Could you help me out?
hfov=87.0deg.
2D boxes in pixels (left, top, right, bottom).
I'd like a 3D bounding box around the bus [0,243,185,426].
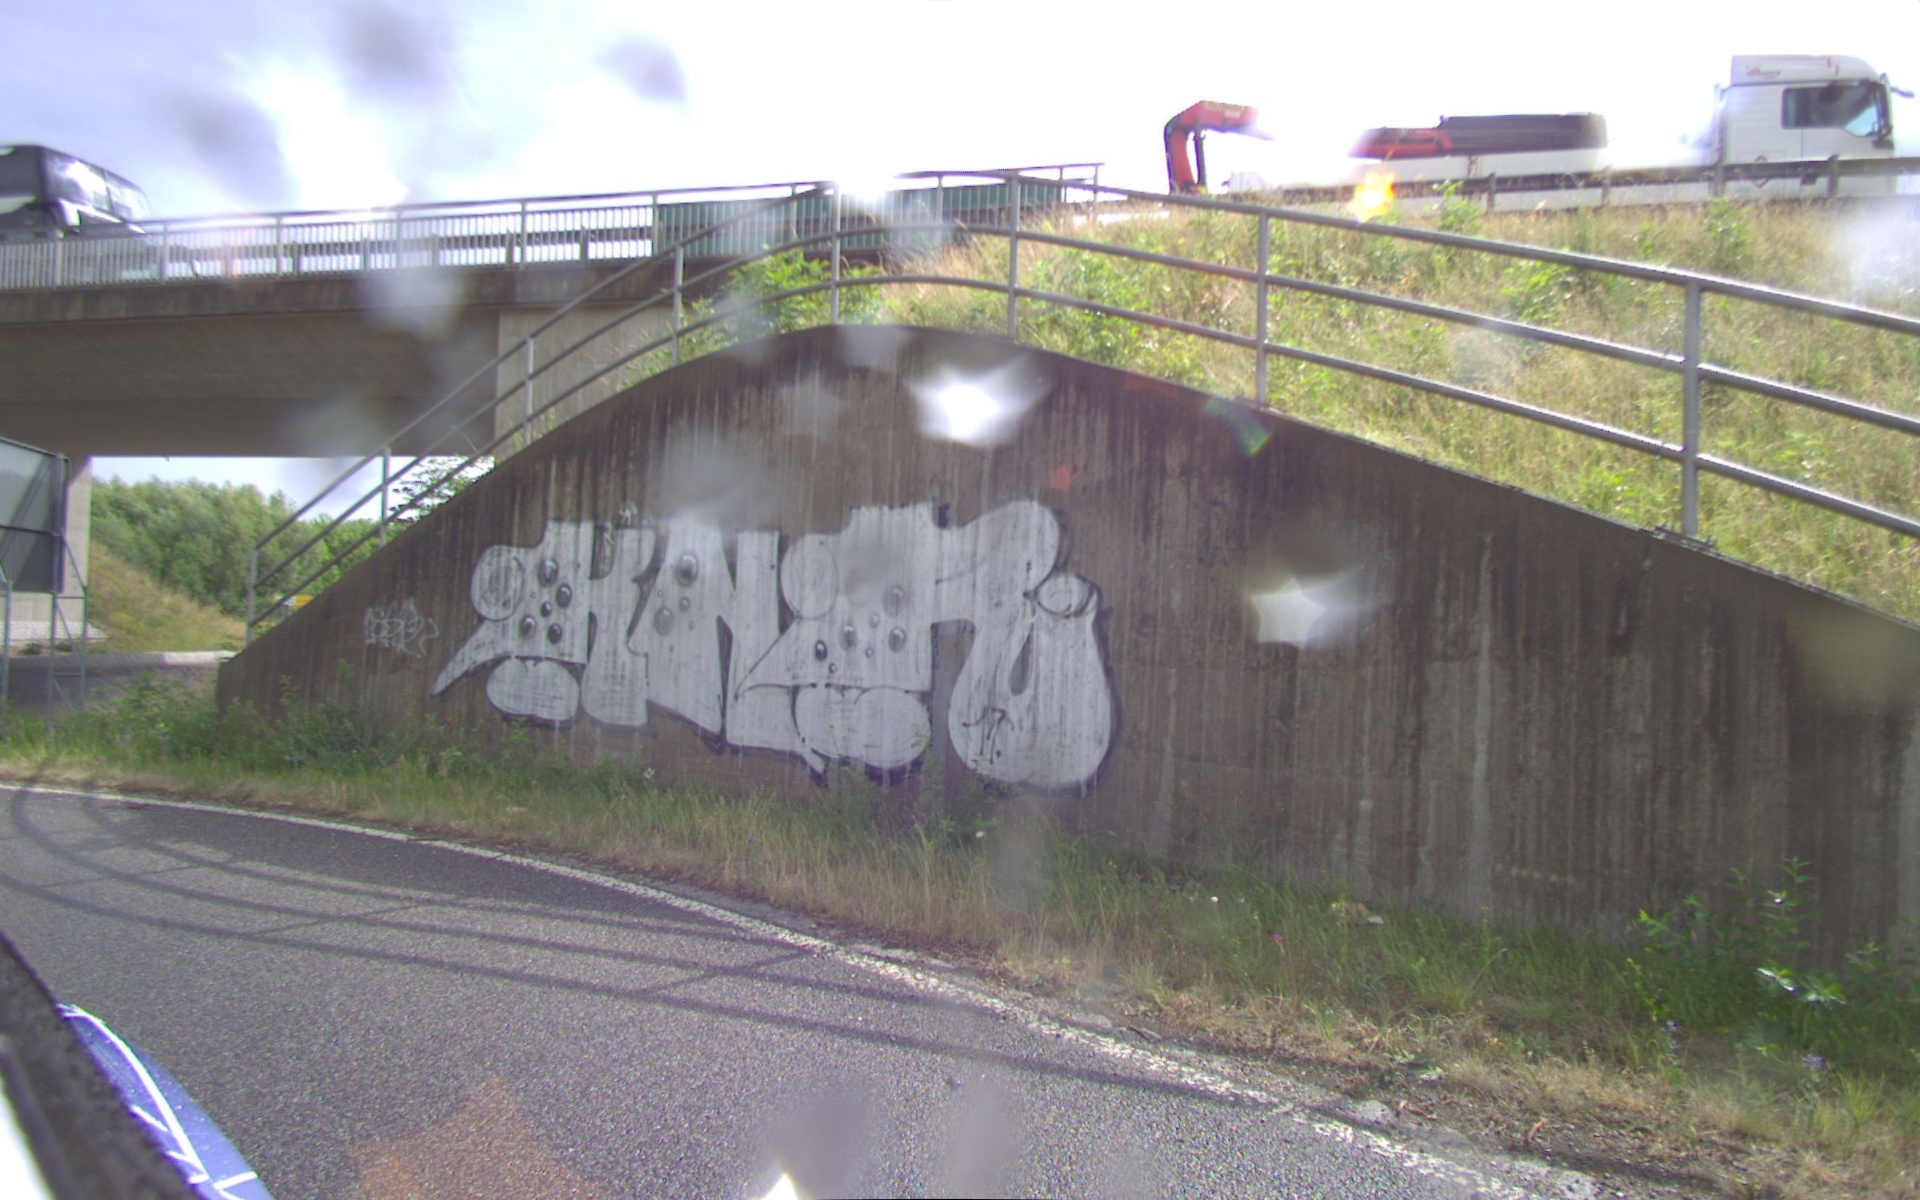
[{"bbox_3d":[-24.296,-5.626,21.676,14.284,3.103,2.609,2,0,6],"label":"bus"}]
